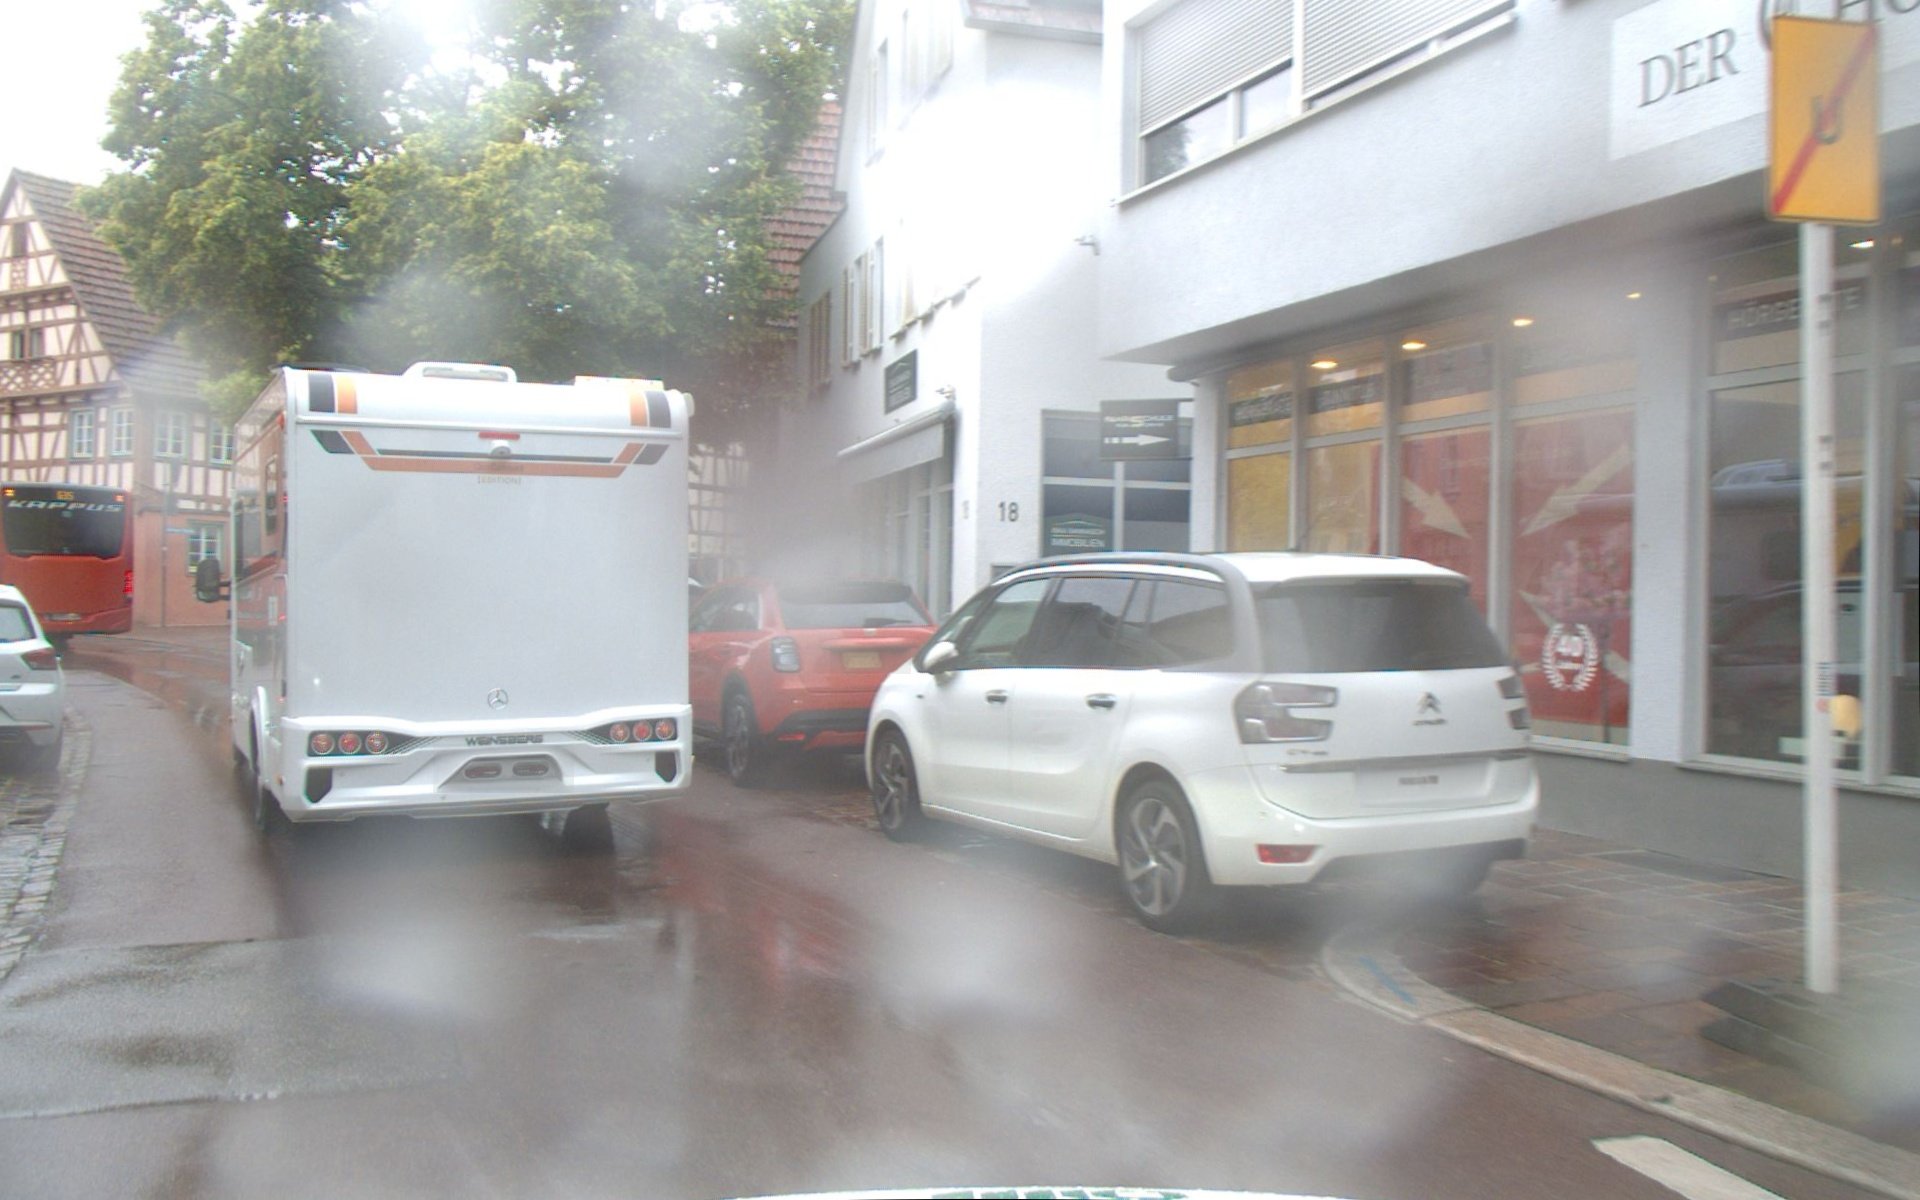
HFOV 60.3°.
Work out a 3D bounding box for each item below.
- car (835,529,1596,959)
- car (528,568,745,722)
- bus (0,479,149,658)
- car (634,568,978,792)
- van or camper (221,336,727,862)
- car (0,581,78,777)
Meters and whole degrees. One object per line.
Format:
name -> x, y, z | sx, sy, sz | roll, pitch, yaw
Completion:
car -> 0.998, 0.552, 8.776 | 1.755, 1.659, 4.430 | 0, 0, -27
car -> -3.778, 0.417, 18.846 | 1.655, 1.555, 3.771 | 0, 1, -24
bus -> -19.992, -0.673, 33.308 | 10.415, 3.142, 2.806 | 2, 1, 41
car -> -1.402, 0.527, 13.567 | 1.656, 1.555, 3.769 | 0, 1, -25
van or camper -> -3.860, -0.028, 11.848 | 2.408, 2.631, 6.695 | 1, 0, -26
car -> -8.628, 0.554, 13.830 | 1.707, 1.439, 3.932 | 3, -1, -35
